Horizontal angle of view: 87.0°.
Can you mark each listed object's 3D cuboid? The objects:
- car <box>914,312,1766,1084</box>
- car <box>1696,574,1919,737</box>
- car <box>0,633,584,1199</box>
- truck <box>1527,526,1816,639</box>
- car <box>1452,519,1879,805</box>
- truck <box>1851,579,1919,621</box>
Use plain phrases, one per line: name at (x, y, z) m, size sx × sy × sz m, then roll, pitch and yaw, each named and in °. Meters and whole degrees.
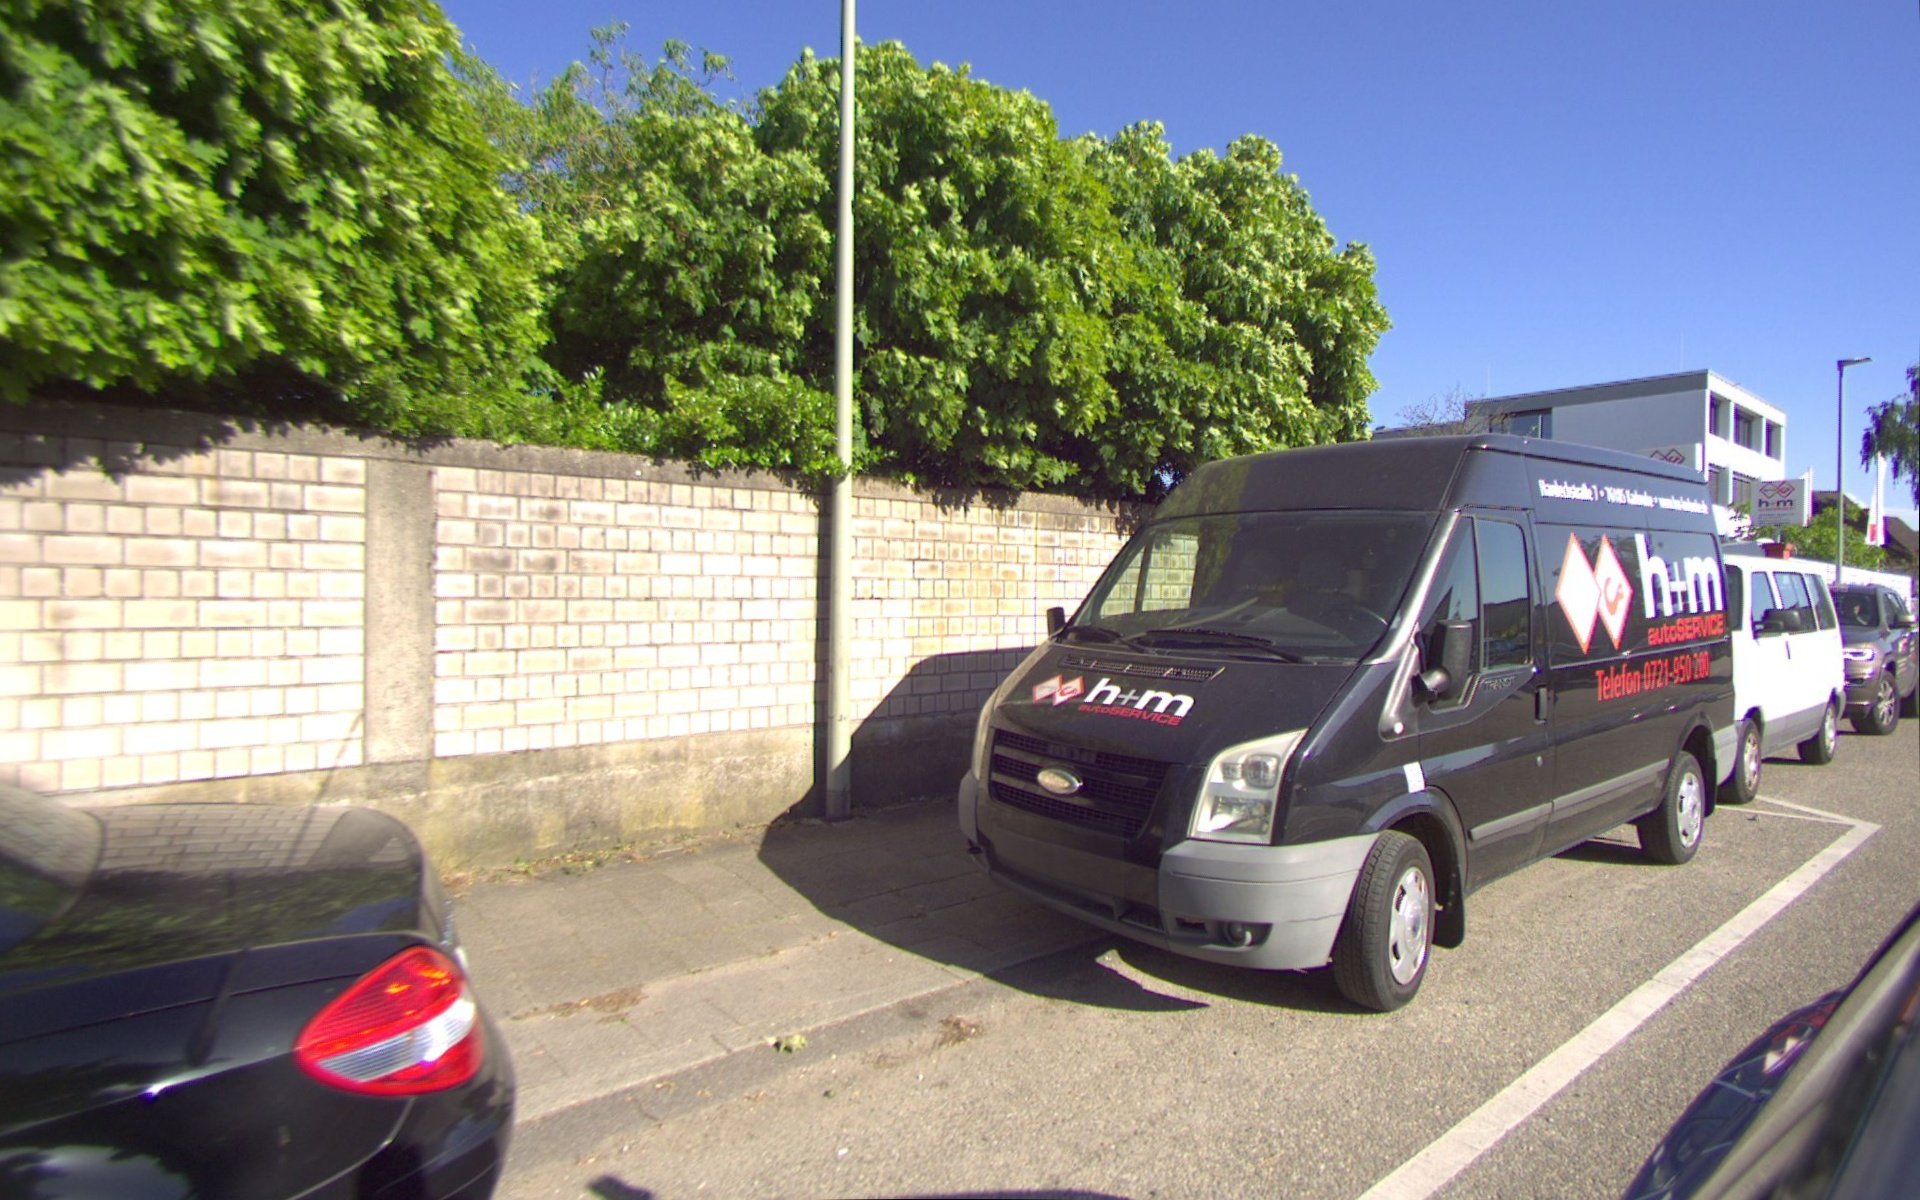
car at (2.363, 0.272, 5.340) m, size 5.053 × 2.288 × 1.896 m, roll 0°, pitch 1°, yaw -39°
car at (11.390, 0.577, 13.192) m, size 4.825 × 1.766 × 1.805 m, roll -1°, pitch 0°, yaw -40°
car at (-2.669, 0.786, 0.935) m, size 4.032 × 1.334 × 1.657 m, roll 0°, pitch 2°, yaw -41°
truck at (19.974, -0.547, 28.788) m, size 2.335 × 2.852 × 6.245 m, roll 1°, pitch 1°, yaw -36°
car at (6.558, 0.397, 9.171) m, size 4.832 × 1.949 × 1.896 m, roll 0°, pitch 1°, yaw -39°
truck at (57.836, -0.005, 62.066) m, size 4.345 × 2.496 × 1.982 m, roll 2°, pitch 1°, yaw 27°
